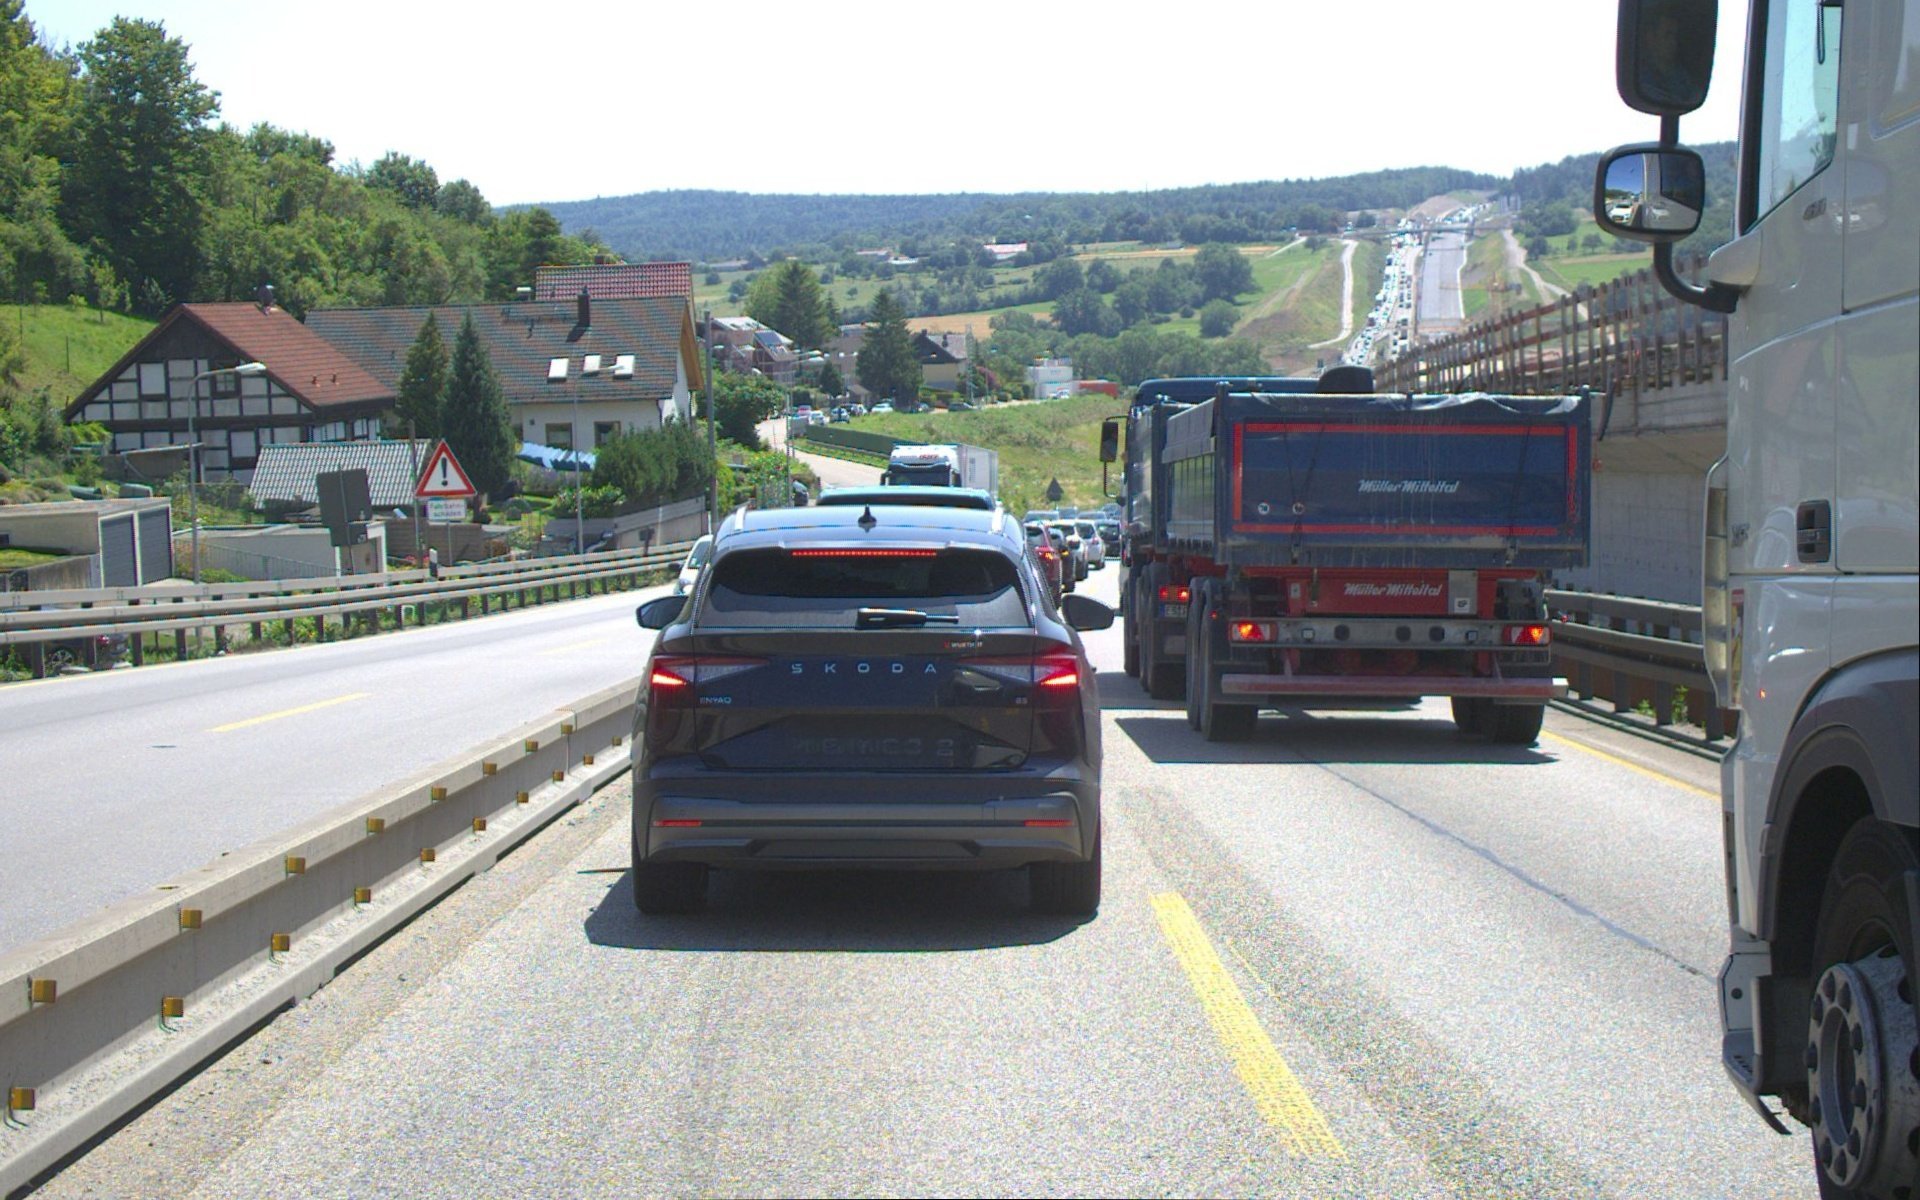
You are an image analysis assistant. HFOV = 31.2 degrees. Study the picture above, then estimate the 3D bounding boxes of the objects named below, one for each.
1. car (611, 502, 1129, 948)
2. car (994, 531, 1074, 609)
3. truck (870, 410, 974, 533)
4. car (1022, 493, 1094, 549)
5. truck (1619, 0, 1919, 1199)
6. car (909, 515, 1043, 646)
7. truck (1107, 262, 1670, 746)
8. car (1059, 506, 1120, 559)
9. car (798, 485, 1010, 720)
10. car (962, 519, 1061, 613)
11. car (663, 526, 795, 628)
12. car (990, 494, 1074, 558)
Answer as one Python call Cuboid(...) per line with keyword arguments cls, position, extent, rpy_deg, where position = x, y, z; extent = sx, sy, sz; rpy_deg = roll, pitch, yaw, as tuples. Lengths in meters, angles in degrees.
Cuboid(cls="car", position=(-0.362, 0.427, 14.373), extent=(1.842, 1.581, 3.908), rpy_deg=(1, 1, -1))
Cuboid(cls="car", position=(1.702, -0.706, 78.257), extent=(1.707, 1.616, 4.000), rpy_deg=(1, 2, 2))
Cuboid(cls="truck", position=(-1.357, -4.722, 128.308), extent=(3.303, 4.347, 8.300), rpy_deg=(1, 1, 3))
Cuboid(cls="car", position=(2.924, -2.314, 101.811), extent=(1.994, 1.579, 3.836), rpy_deg=(1, 1, 3))
Cuboid(cls="truck", position=(2.846, -0.700, 3.547), extent=(2.513, 4.011, 8.238), rpy_deg=(1, 1, -1))
Cuboid(cls="car", position=(0.175, -0.306, 46.921), extent=(1.707, 1.616, 4.001), rpy_deg=(1, 2, -1))
Cuboid(cls="truck", position=(3.119, -0.719, 29.225), extent=(3.195, 3.180, 12.809), rpy_deg=(1, 1, 0))
Cuboid(cls="car", position=(4.385, -2.250, 115.782), extent=(1.701, 1.722, 3.835), rpy_deg=(1, 1, 7))
Cuboid(cls="car", position=(-0.498, -0.045, 30.276), extent=(1.707, 1.875, 4.001), rpy_deg=(1, 2, -1))
Cuboid(cls="car", position=(0.993, -0.669, 64.425), extent=(1.707, 1.616, 4.000), rpy_deg=(1, 2, 2))
Cuboid(cls="car", position=(-3.395, -0.368, 51.022), extent=(1.747, 1.421, 3.710), rpy_deg=(0, 2, -1))
Cuboid(cls="car", position=(1.888, -1.894, 89.172), extent=(1.994, 1.579, 3.836), rpy_deg=(1, 1, 3))
